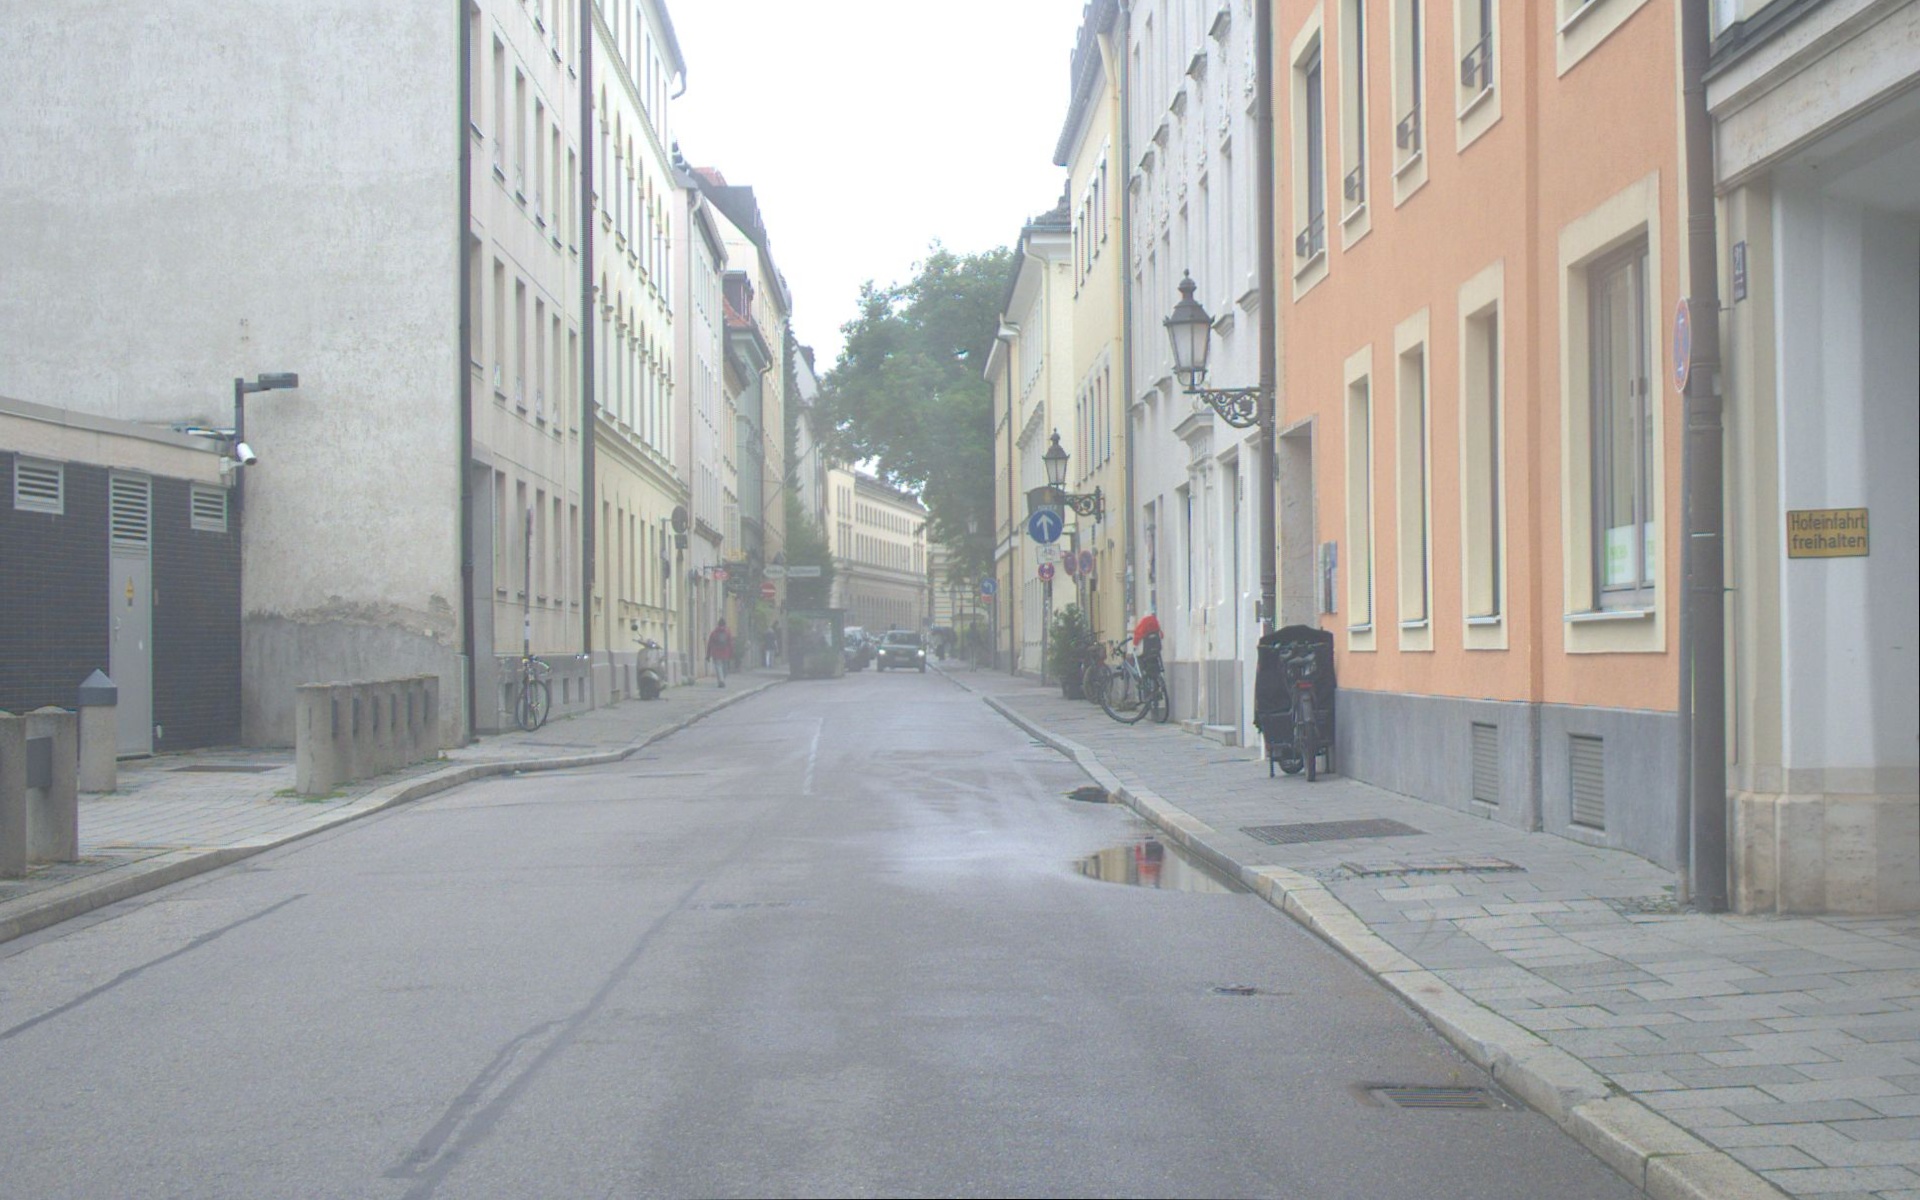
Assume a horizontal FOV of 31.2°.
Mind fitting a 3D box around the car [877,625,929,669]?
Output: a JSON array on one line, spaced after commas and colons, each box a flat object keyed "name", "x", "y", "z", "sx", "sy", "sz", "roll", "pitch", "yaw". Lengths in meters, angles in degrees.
[{"name": "car", "x": -2.117, "y": 1.710, "z": 126.643, "sx": 1.812, "sy": 1.588, "sz": 4.000, "roll": 0, "pitch": 0, "yaw": -2}]

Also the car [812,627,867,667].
[{"name": "car", "x": -4.464, "y": 1.733, "z": 127.539, "sx": 1.779, "sy": 1.462, "sz": 3.662, "roll": 1, "pitch": -1, "yaw": 2}]

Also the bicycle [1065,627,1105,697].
[{"name": "bicycle", "x": 2.102, "y": 1.039, "z": 57.972, "sx": 0.565, "sy": 1.133, "sz": 1.684, "roll": -2, "pitch": 0, "yaw": 0}]

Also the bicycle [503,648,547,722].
[{"name": "bicycle", "x": -5.747, "y": 1.115, "z": 45.492, "sx": 0.320, "sy": 0.940, "sz": 1.574, "roll": 3, "pitch": 0, "yaw": 1}]

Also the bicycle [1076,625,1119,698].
[{"name": "bicycle", "x": 2.226, "y": 0.982, "z": 55.755, "sx": 0.565, "sy": 1.133, "sz": 1.987, "roll": -2, "pitch": 0, "yaw": 0}]

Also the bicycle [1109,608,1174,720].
[{"name": "bicycle", "x": 2.351, "y": 0.817, "z": 44.670, "sx": 0.713, "sy": 1.391, "sz": 2.121, "roll": -3, "pitch": 0, "yaw": 1}]

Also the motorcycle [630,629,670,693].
[{"name": "motorcycle", "x": -5.744, "y": 1.126, "z": 63.738, "sx": 0.602, "sy": 1.170, "sz": 1.708, "roll": 0, "pitch": -1, "yaw": -1}]

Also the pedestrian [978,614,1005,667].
[{"name": "pedestrian", "x": 1.087, "y": 1.398, "z": 118.363, "sx": 0.880, "sy": 1.796, "sz": 1.046, "roll": 1, "pitch": -1, "yaw": 0}]

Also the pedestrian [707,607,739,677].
[{"name": "pedestrian", "x": -5.783, "y": 1.029, "z": 83.839, "sx": 0.765, "sy": 1.702, "sz": 0.785, "roll": 0, "pitch": -1, "yaw": -3}]

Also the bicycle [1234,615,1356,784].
[{"name": "bicycle", "x": 2.679, "y": 0.771, "z": 27.728, "sx": 0.679, "sy": 1.236, "sz": 2.382, "roll": -5, "pitch": 0, "yaw": 1}]
